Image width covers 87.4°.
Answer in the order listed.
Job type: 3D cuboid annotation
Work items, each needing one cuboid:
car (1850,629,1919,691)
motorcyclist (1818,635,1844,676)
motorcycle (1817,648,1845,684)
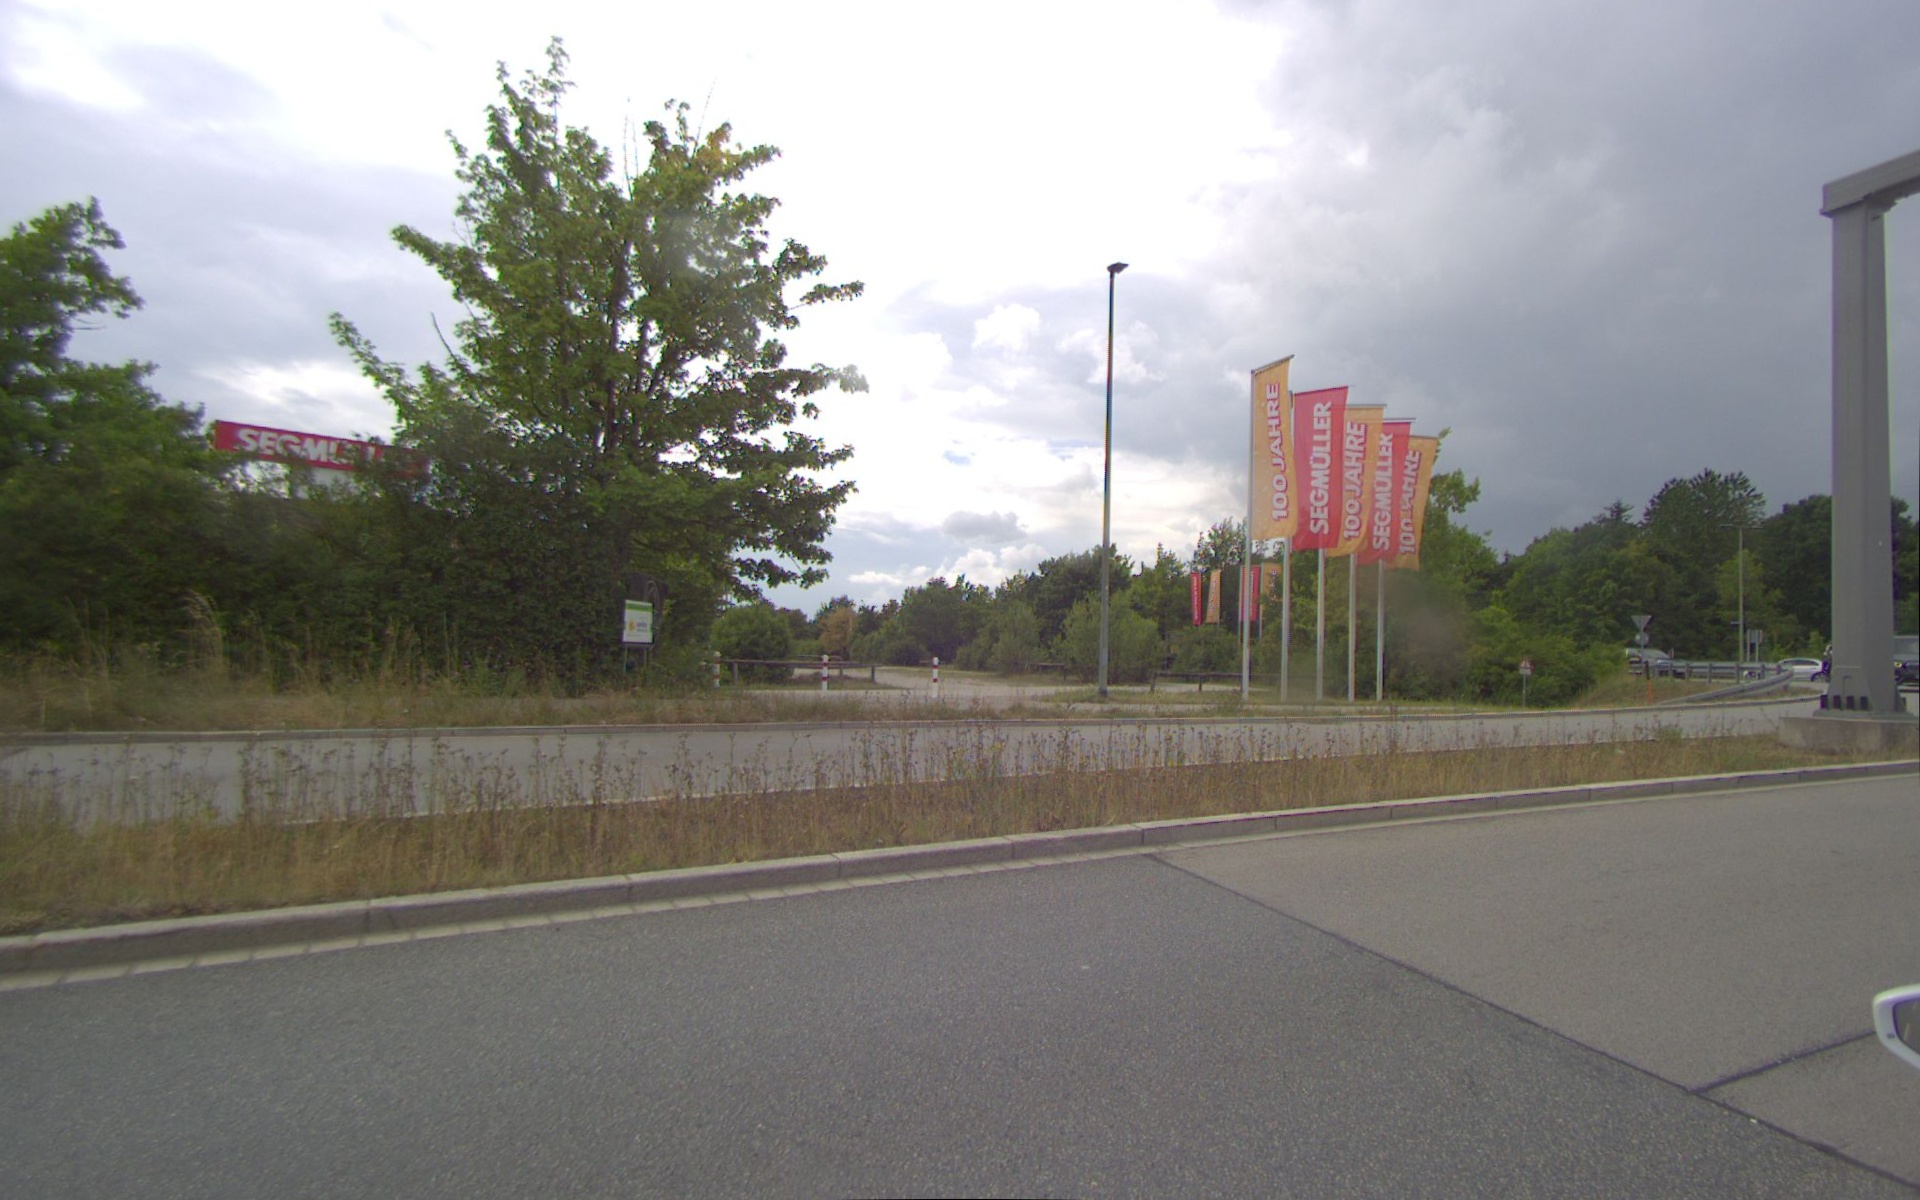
[{"bbox_3d":[27.150,1.700,28.856,1.830,1.686,4.149,-4,-4,35],"label":"car"},{"bbox_3d":[33.050,2.106,38.123,0.721,1.546,0.653,-1,-3,40],"label":"motorcyclist"},{"bbox_3d":[33.243,2.516,38.349,0.740,1.319,2.474,-1,-4,40],"label":"motorcycle"}]
